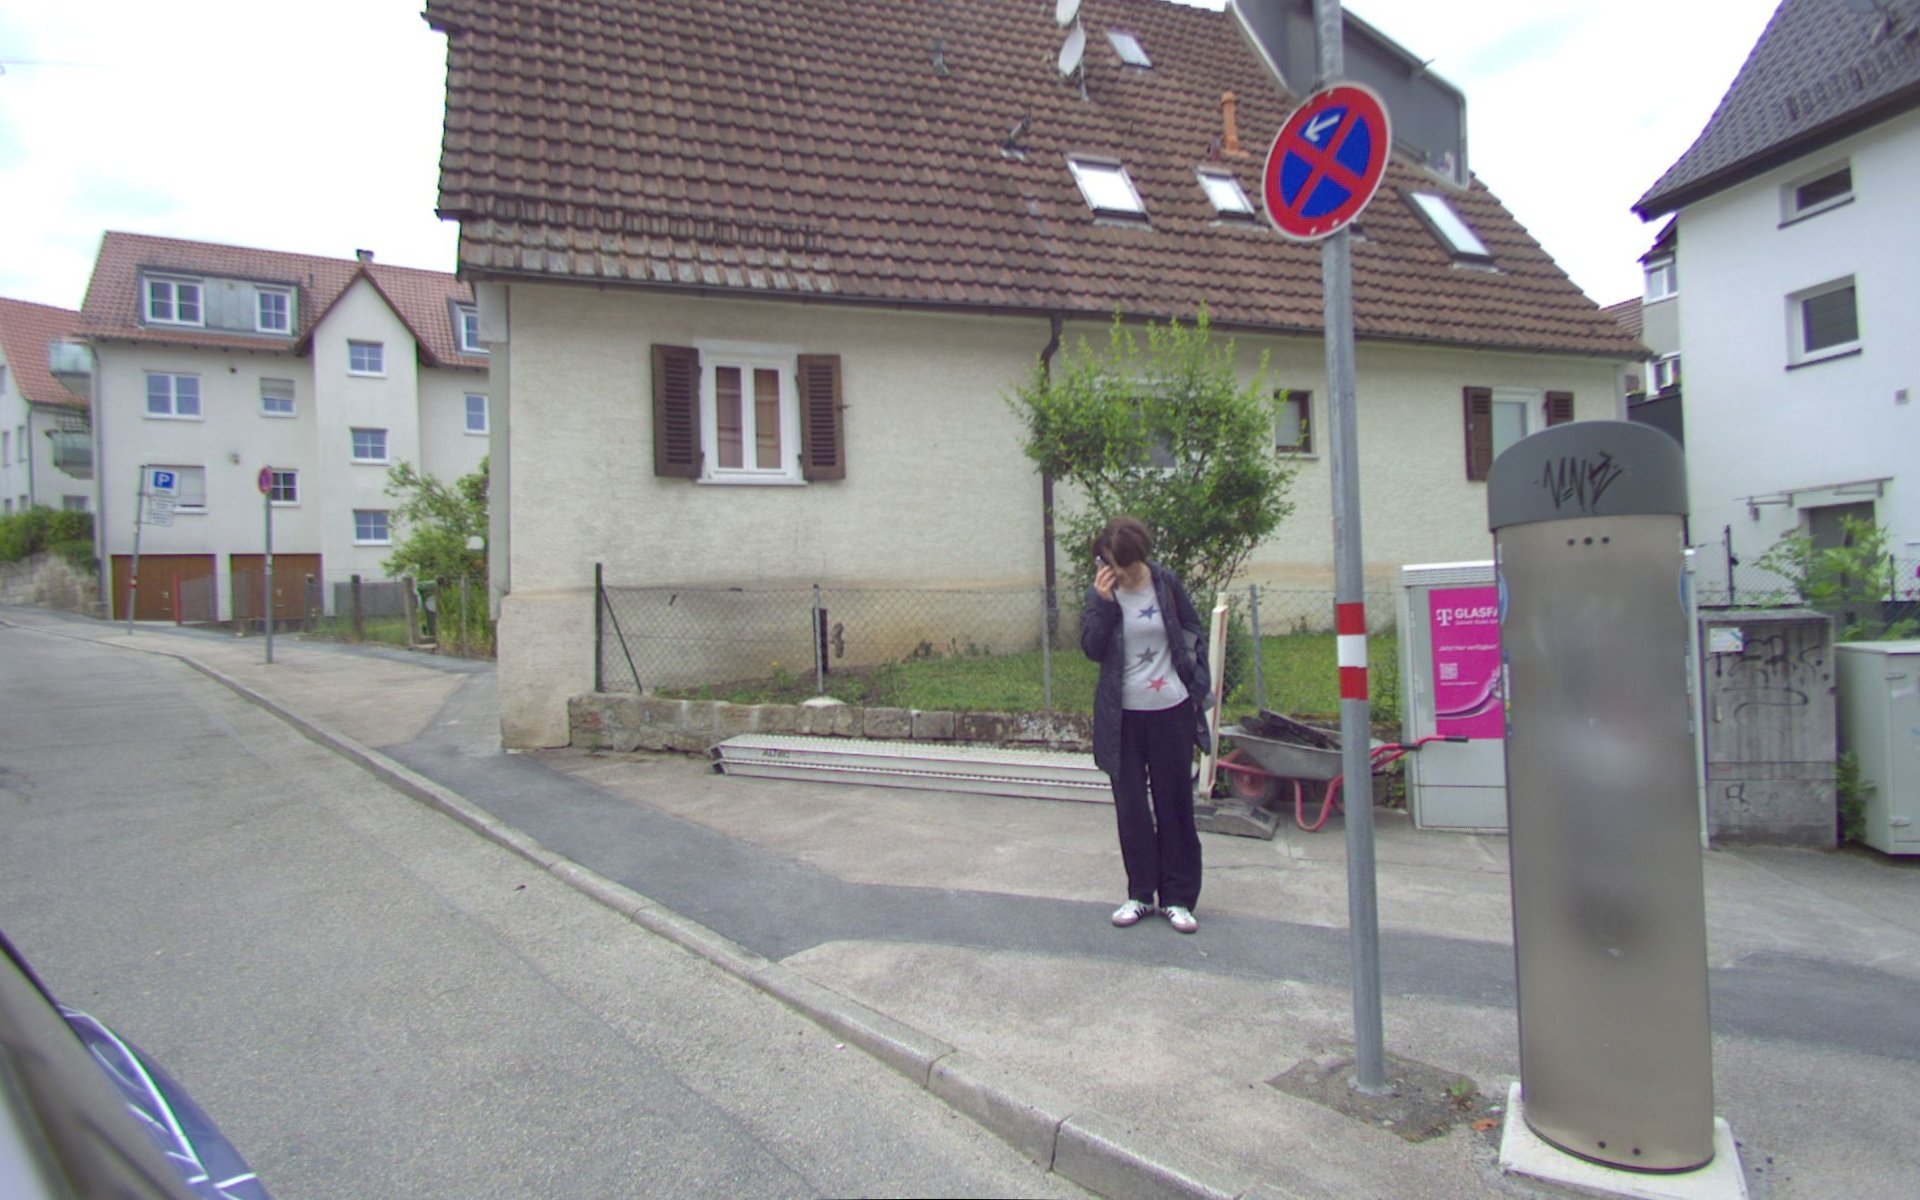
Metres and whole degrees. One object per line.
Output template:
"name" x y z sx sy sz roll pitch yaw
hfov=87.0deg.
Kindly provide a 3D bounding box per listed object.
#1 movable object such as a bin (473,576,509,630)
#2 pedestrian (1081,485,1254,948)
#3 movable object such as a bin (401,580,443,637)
"movable object such as a bin" -8.120 0.043 17.531 0.487 0.884 0.454 -4 5 -23
"pedestrian" 0.826 0.429 4.081 0.598 1.697 0.646 -1 1 11
"movable object such as a bin" -9.014 0.131 16.965 0.519 0.890 0.492 -4 5 -24
